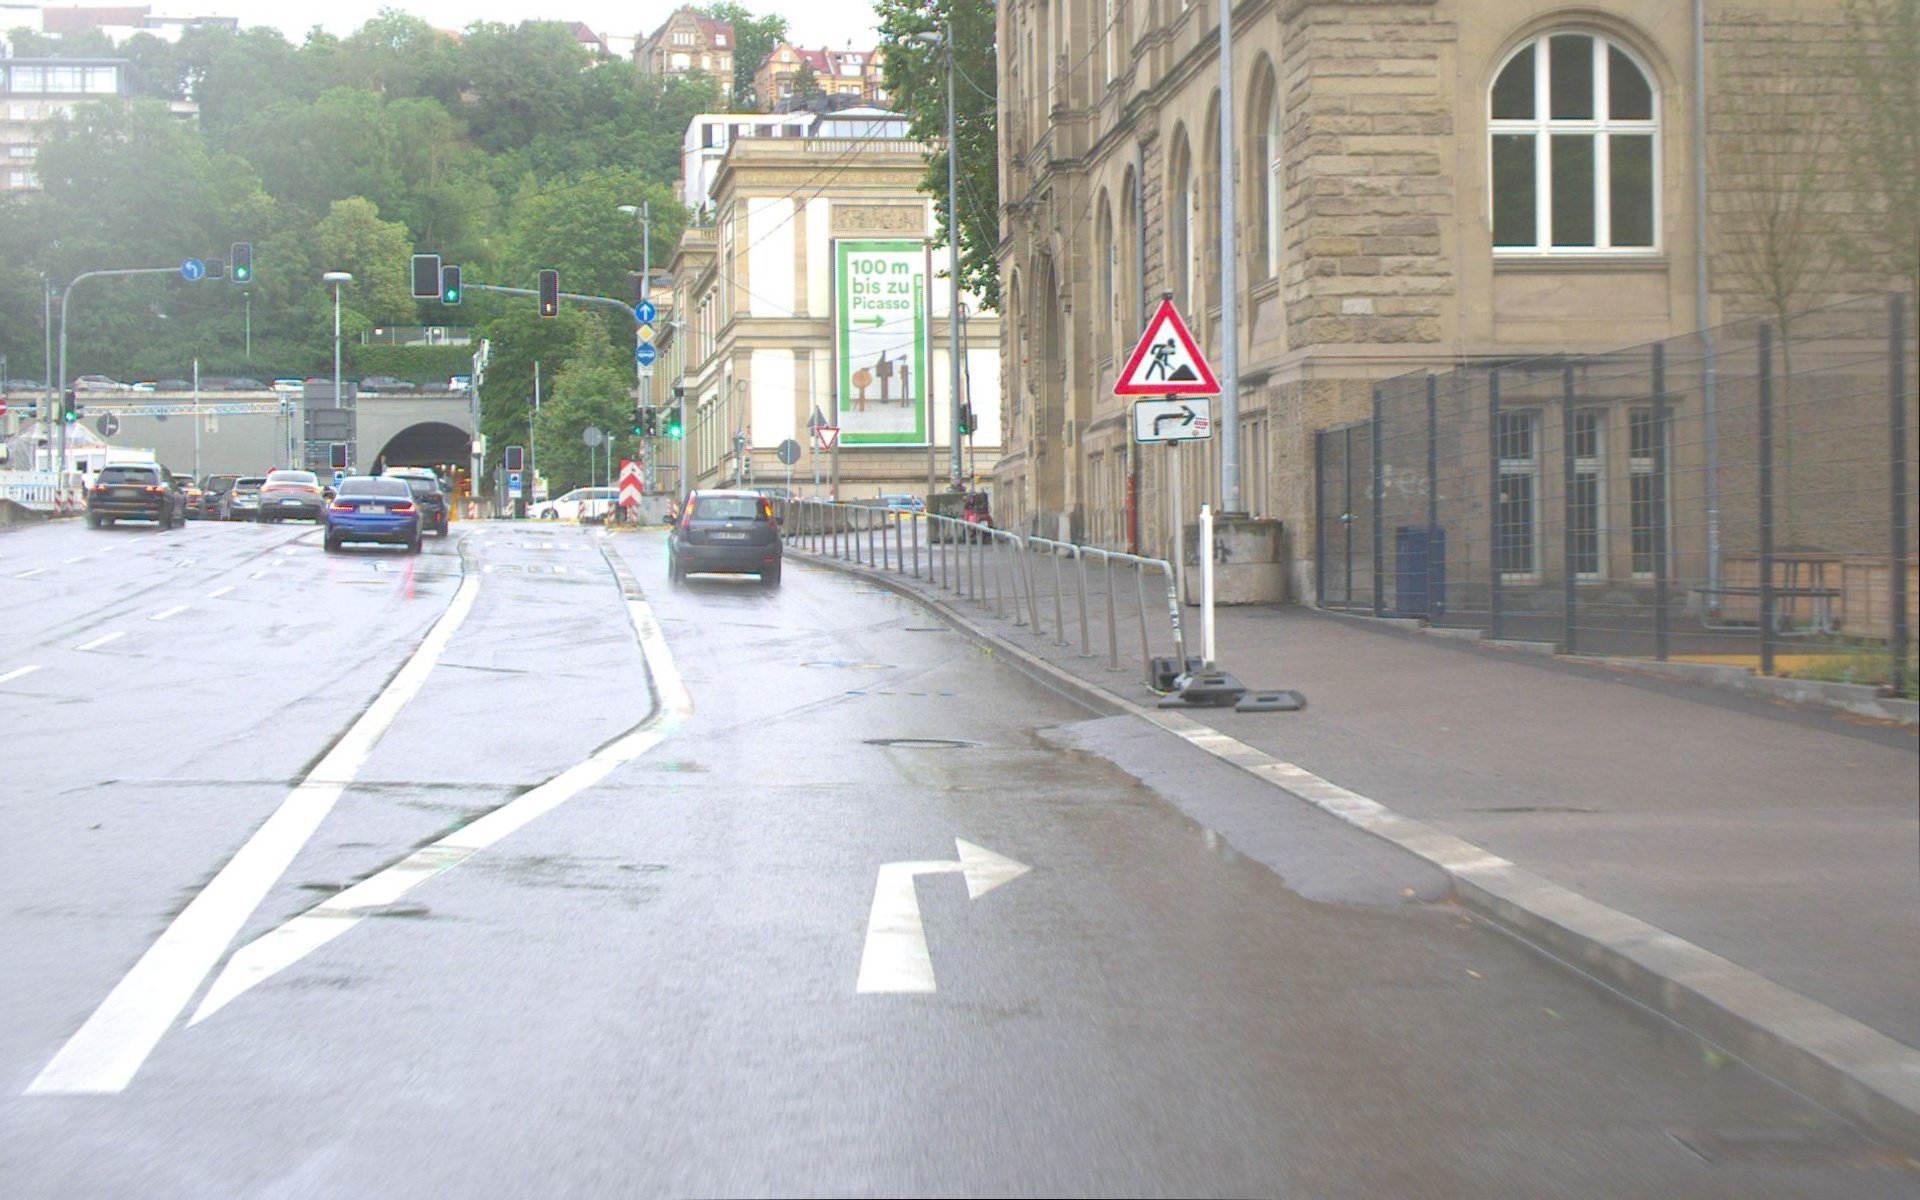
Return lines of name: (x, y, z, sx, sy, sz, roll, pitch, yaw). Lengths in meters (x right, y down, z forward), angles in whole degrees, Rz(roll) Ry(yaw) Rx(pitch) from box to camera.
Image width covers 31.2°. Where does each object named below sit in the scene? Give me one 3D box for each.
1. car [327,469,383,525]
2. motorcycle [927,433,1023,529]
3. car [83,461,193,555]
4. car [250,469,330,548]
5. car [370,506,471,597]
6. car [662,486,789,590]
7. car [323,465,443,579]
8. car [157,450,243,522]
car: (-22.940, -3.896, 130.340, 1.993, 2.007, 4.001, -1, 1, -11)
motorcycle: (0.301, -2.588, 74.509, 1.795, 2.006, 3.814, 0, 2, -4)
car: (-18.703, -2.071, 78.365, 2.016, 2.007, 4.001, -1, 0, -8)
car: (-18.232, -2.472, 93.452, 2.051, 2.007, 4.001, -1, 0, -12)
car: (-12.378, -1.095, 79.072, 1.776, 2.007, 4.000, -1, 0, -2)
car: (-3.686, -0.936, 53.575, 1.812, 1.521, 4.001, -1, 0, -6)
car: (-11.091, -1.474, 66.307, 2.104, 2.043, 4.001, -1, 0, -8)
car: (-22.999, -3.429, 104.170, 1.993, 2.007, 4.001, -1, 0, -5)
